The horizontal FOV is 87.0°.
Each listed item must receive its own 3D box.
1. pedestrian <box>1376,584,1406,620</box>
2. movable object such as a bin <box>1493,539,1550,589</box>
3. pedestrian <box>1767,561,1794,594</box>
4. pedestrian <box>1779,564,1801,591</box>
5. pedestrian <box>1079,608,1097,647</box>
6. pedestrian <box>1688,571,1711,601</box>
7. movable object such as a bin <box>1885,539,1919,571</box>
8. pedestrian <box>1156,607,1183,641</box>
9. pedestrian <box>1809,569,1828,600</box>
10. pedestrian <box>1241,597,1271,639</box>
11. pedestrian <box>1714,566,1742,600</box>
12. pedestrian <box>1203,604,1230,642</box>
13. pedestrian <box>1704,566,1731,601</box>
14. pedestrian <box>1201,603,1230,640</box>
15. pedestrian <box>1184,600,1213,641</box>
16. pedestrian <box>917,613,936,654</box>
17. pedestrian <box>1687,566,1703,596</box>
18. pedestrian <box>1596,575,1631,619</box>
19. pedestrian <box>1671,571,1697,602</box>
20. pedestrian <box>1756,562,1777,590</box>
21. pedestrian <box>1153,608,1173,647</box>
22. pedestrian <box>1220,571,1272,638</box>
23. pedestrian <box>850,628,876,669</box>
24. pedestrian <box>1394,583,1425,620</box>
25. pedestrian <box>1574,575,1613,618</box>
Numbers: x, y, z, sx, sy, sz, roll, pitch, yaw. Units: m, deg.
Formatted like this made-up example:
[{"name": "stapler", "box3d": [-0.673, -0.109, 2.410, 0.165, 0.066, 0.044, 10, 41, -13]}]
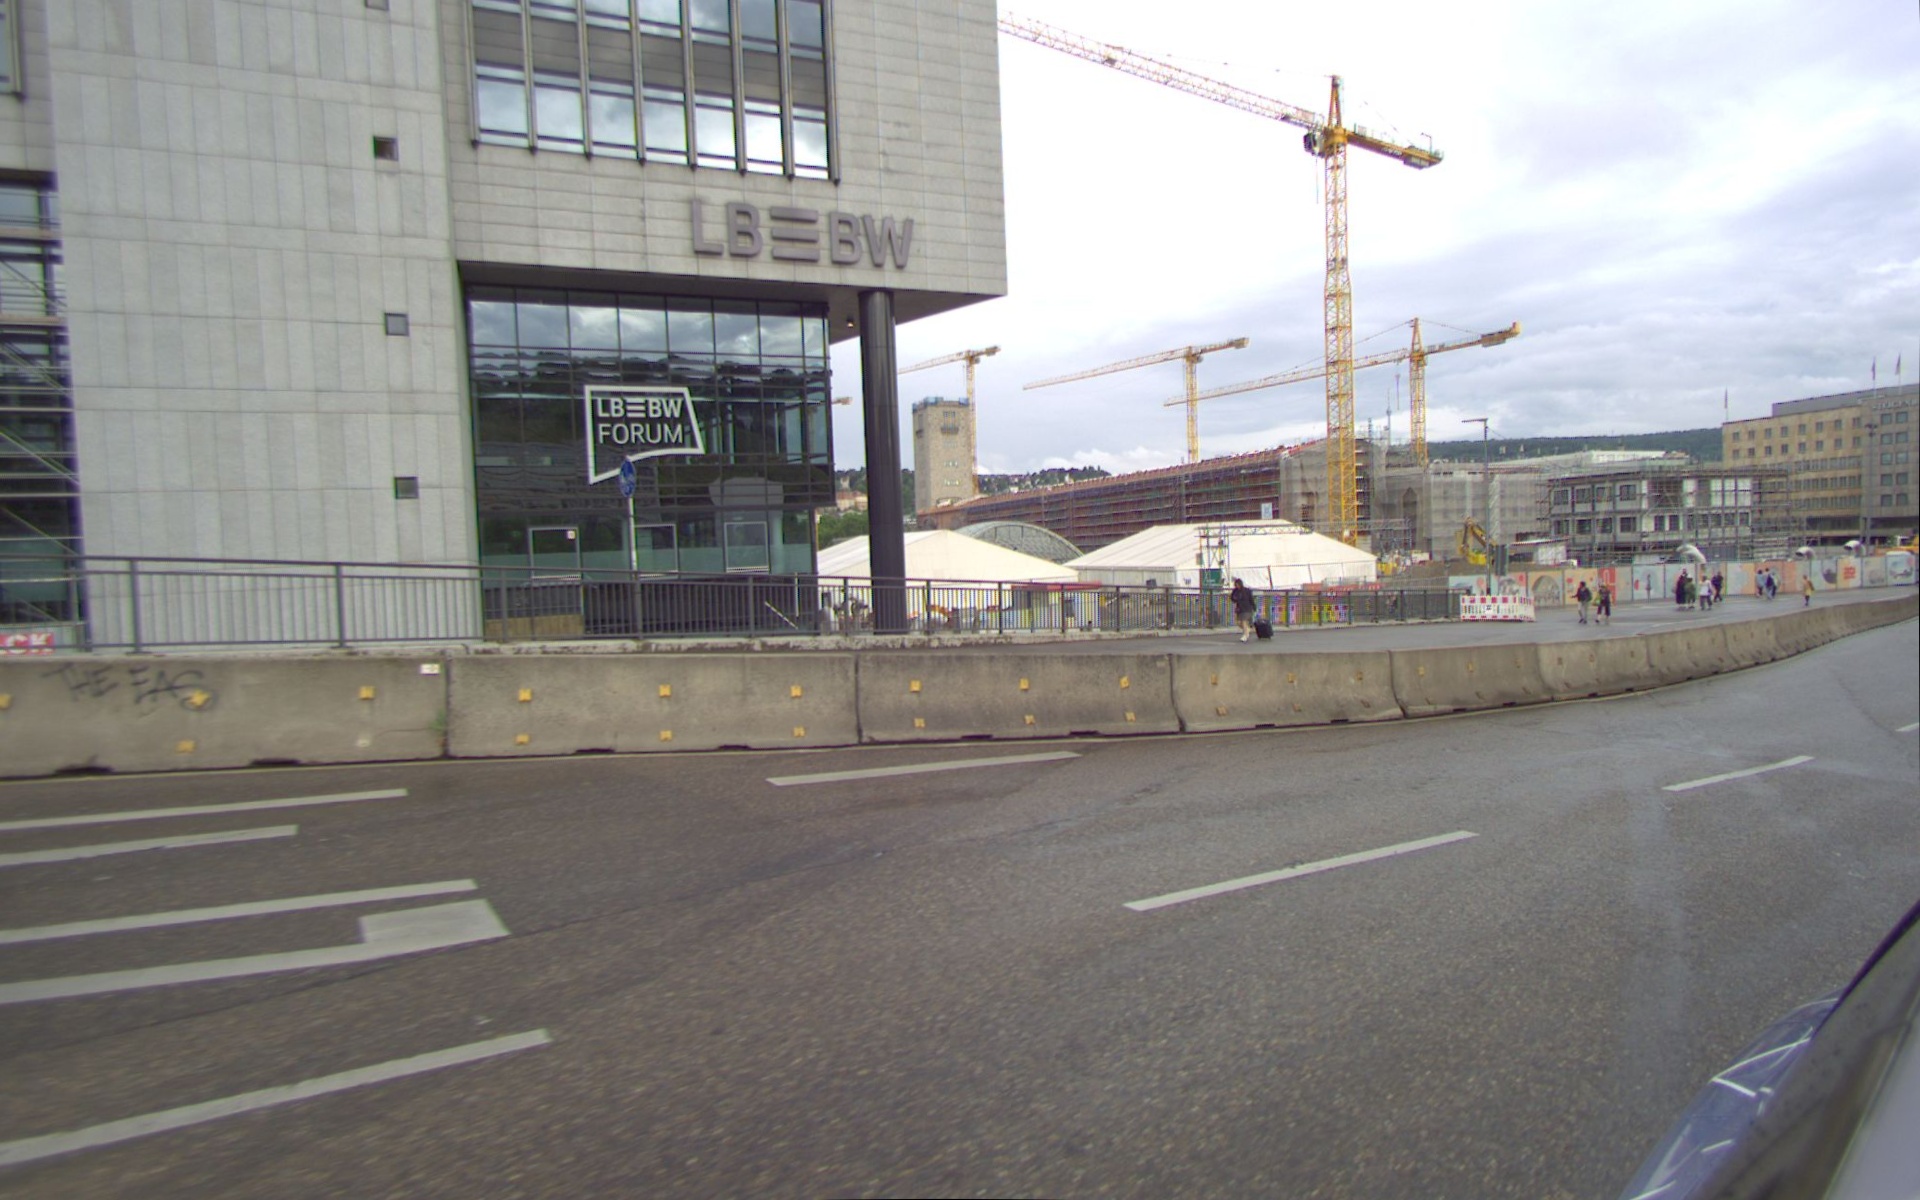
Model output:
[{"name": "pedestrian", "box3d": [21.280, 0.075, 49.998, 0.987, 1.710, 0.871, -2, 2, -13]}, {"name": "movable object such as a bin", "box3d": [39.916, -2.574, 71.880, 4.152, 3.450, 1.943, -3, 2, -35]}, {"name": "pedestrian", "box3d": [47.852, -1.330, 59.018, 0.913, 1.871, 0.822, -2, 2, -6]}, {"name": "pedestrian", "box3d": [49.449, -1.319, 60.316, 0.750, 1.572, 0.650, -2, 2, -6]}, {"name": "pedestrian", "box3d": [5.598, 1.175, 44.151, 0.554, 1.635, 0.707, -2, 2, -10]}, {"name": "pedestrian", "box3d": [38.684, -0.720, 52.924, 0.867, 1.541, 0.612, -2, 2, -23]}, {"name": "movable object such as a bin", "box3d": [78.116, -3.673, 82.051, 4.066, 2.566, 1.993, -1, 2, 13]}, {"name": "pedestrian", "box3d": [10.142, 1.139, 49.003, 0.987, 1.572, 0.871, -2, 2, -13]}, {"name": "pedestrian", "box3d": [45.975, -0.829, 54.186, 0.892, 1.652, 0.648, -3, 2, -42]}, {"name": "pedestrian", "box3d": [13.550, 0.814, 46.299, 0.987, 1.803, 0.871, -2, 2, -13]}, {"name": "pedestrian", "box3d": [43.247, -0.954, 57.013, 0.987, 1.840, 0.871, -2, 2, -23]}, {"name": "pedestrian", "box3d": [11.495, 1.024, 45.360, 0.897, 1.657, 0.701, -2, 2, -13]}, {"name": "pedestrian", "box3d": [39.388, -0.866, 52.619, 0.873, 1.744, 0.781, -2, 2, -23]}, {"name": "pedestrian", "box3d": [11.926, 0.989, 47.233, 0.987, 1.657, 0.871, -2, 2, -13]}, {"name": "pedestrian", "box3d": [10.922, 0.938, 46.376, 0.987, 1.805, 0.775, -2, 2, -13]}, {"name": "pedestrian", "box3d": [-1.554, 1.540, 46.519, 0.632, 1.838, 0.752, -1, 2, 17]}, {"name": "pedestrian", "box3d": [43.712, -1.114, 60.200, 0.485, 1.769, 0.569, -2, 2, -24]}, {"name": "pedestrian", "box3d": [24.676, -0.114, 38.226, 0.788, 1.594, 0.736, -2, 1, -15]}, {"name": "pedestrian", "box3d": [38.247, -0.713, 53.478, 0.987, 1.572, 0.718, -2, 2, -23]}, {"name": "pedestrian", "box3d": [48.727, -1.443, 61.161, 0.750, 1.675, 0.650, -2, 2, -6]}, {"name": "pedestrian", "box3d": [8.923, 1.212, 44.502, 0.739, 1.657, 0.587, -1, 2, 6]}, {"name": "pedestrian", "box3d": [7.277, 0.103, 25.767, 1.038, 1.672, 0.733, -1, 1, -15]}, {"name": "pedestrian", "box3d": [-4.238, 2.088, 44.083, 0.987, 1.657, 0.871, -2, 2, -13]}, {"name": "pedestrian", "box3d": [21.733, 0.064, 48.943, 0.987, 1.746, 0.871, -2, 2, -13]}, {"name": "pedestrian", "box3d": [24.393, -0.152, 38.995, 0.932, 1.613, 0.865, -2, 2, -15]}]
